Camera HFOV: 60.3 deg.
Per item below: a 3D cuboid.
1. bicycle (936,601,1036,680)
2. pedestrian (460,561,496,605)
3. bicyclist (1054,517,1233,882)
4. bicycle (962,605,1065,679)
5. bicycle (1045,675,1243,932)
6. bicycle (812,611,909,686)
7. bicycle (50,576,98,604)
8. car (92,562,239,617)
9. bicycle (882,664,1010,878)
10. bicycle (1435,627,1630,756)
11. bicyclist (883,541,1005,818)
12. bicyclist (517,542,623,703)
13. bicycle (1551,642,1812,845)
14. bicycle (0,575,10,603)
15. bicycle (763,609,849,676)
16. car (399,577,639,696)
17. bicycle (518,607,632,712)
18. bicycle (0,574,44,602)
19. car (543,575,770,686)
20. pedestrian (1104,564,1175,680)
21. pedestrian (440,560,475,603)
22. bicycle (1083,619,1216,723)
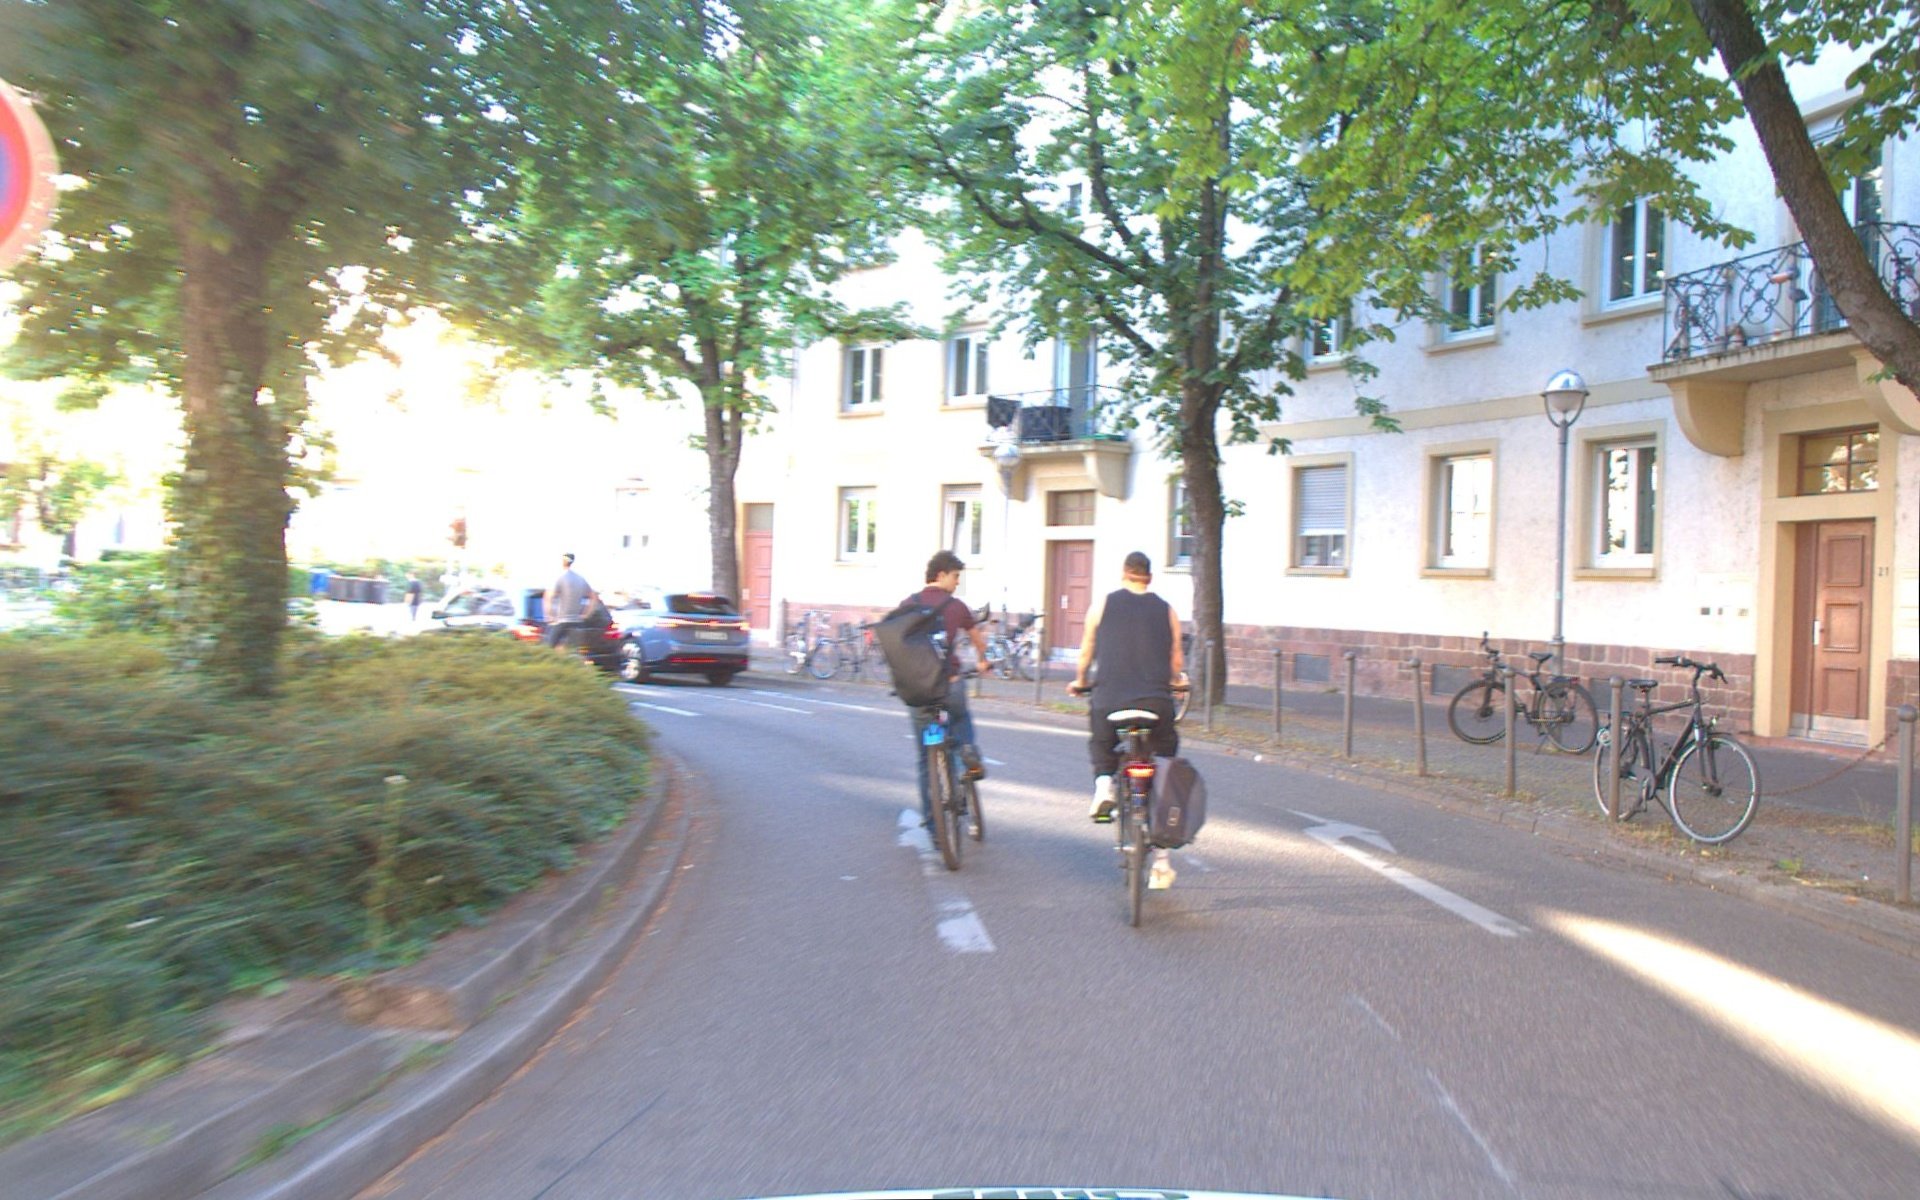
[{"bbox_3d":[0.401,0.641,27.215,0.490,1.192,2.091,-3,3,-35],"label":"bicycle"},{"bbox_3d":[-22.825,-0.805,78.326,1.134,1.996,1.388,2,0,4],"label":"pedestrian"},{"bbox_3d":[0.897,0.468,8.296,0.737,1.711,0.913,2,0,-1],"label":"bicyclist"},{"bbox_3d":[0.876,0.677,27.569,0.577,1.133,2.091,1,1,-35],"label":"bicycle"},{"bbox_3d":[0.879,0.957,8.434,0.723,1.029,2.061,0,1,-1],"label":"bicycle"},{"bbox_3d":[-1.603,0.755,26.464,0.611,1.076,1.903,-1,2,-37],"label":"bicycle"},{"bbox_3d":[-29.384,-0.324,54.865,0.440,0.877,1.446,2,0,24],"label":"bicycle"},{"bbox_3d":[-24.597,-0.365,51.403,1.951,1.522,4.379,2,2,9],"label":"car"},{"bbox_3d":[-0.122,0.950,9.825,0.660,1.072,2.060,1,-1,-3],"label":"bicycle"},{"bbox_3d":[5.755,0.887,16.715,0.666,1.203,1.798,-1,0,-37],"label":"bicycle"},{"bbox_3d":[-0.112,0.445,9.766,0.658,1.541,1.068,1,0,-3],"label":"bicyclist"},{"bbox_3d":[-4.875,0.262,20.651,0.845,1.931,1.123,1,1,-39],"label":"bicyclist"},{"bbox_3d":[4.809,0.911,11.194,0.667,1.179,1.997,1,0,-8],"label":"bicycle"},{"bbox_3d":[-30.189,-0.344,51.302,0.440,0.877,1.223,2,0,24],"label":"bicycle"},{"bbox_3d":[-2.606,0.694,27.683,0.515,1.016,2.168,1,0,-31],"label":"bicycle"},{"bbox_3d":[-6.541,0.462,24.302,1.804,1.570,3.896,-1,1,-43],"label":"car"},{"bbox_3d":[-4.820,0.716,20.597,0.593,1.182,2.015,2,0,-37],"label":"bicycle"},{"bbox_3d":[-29.774,-0.372,52.437,0.440,0.877,1.223,2,0,24],"label":"bicycle"},{"bbox_3d":[-4.993,0.456,26.931,1.881,1.605,3.941,2,0,-41],"label":"car"},{"bbox_3d":[2.905,0.343,26.750,0.649,1.826,0.990,1,1,45],"label":"pedestrian"},{"bbox_3d":[-24.000,-0.871,78.982,1.134,1.996,1.388,2,0,4],"label":"pedestrian"},{"bbox_3d":[2.296,0.841,20.329,0.609,1.132,1.974,-2,2,-28],"label":"bicycle"}]
